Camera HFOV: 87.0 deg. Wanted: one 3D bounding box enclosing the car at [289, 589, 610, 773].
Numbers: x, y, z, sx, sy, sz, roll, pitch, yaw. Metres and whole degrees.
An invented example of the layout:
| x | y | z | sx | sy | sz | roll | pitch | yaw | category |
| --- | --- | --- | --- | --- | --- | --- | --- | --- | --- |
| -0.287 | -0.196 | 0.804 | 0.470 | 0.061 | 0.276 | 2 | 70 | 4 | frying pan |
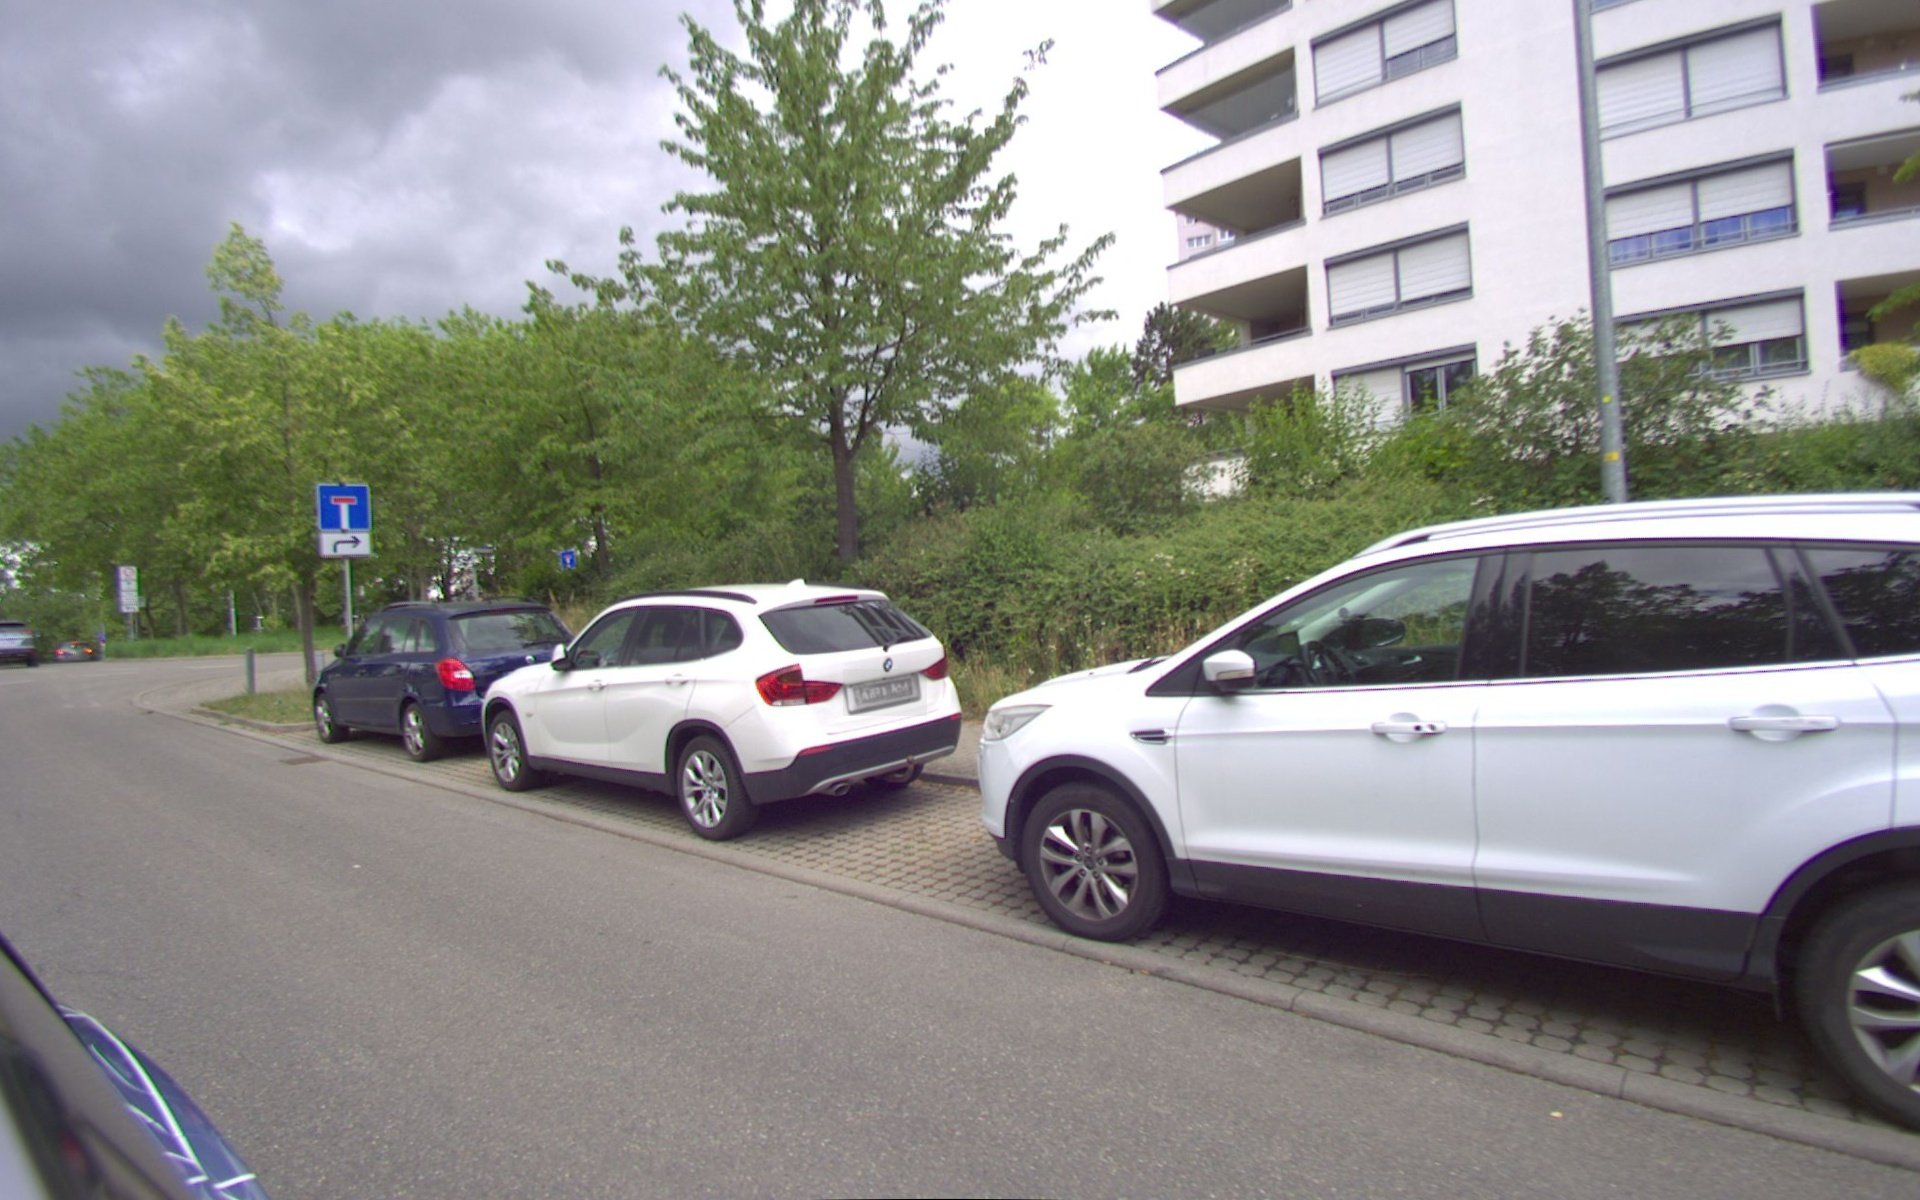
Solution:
| x | y | z | sx | sy | sz | roll | pitch | yaw | category |
| --- | --- | --- | --- | --- | --- | --- | --- | --- | --- |
| -5.553 | 0.758 | 10.790 | 3.952 | 1.498 | 1.672 | -2 | 3 | 42 | car |

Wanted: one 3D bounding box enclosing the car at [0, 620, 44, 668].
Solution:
| x | y | z | sx | sy | sz | roll | pitch | yaw | category |
| --- | --- | --- | --- | --- | --- | --- | --- | --- | --- |
| -33.396 | 1.529 | 34.913 | 4.161 | 1.595 | 1.878 | -2 | -5 | 38 | car |

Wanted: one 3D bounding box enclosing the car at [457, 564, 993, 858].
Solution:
| x | y | z | sx | sy | sz | roll | pitch | yaw | category |
| --- | --- | --- | --- | --- | --- | --- | --- | --- | --- |
| -1.948 | 0.645 | 7.521 | 4.229 | 1.522 | 1.672 | -2 | 3 | 42 | car |

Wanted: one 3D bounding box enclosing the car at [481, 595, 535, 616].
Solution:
| x | y | z | sx | sy | sz | roll | pitch | yaw | category |
| --- | --- | --- | --- | --- | --- | --- | --- | --- | --- |
| -35.349 | 0.431 | 79.231 | 1.640 | 1.475 | 3.979 | -2 | 0 | 17 | car |

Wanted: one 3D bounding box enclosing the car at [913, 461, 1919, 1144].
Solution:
| x | y | z | sx | sy | sz | roll | pitch | yaw | category |
| --- | --- | --- | --- | --- | --- | --- | --- | --- | --- |
| 2.076 | 0.472 | 3.878 | 4.435 | 1.677 | 1.789 | -2 | 3 | 42 | car |

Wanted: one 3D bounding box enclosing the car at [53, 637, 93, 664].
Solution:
| x | y | z | sx | sy | sz | roll | pitch | yaw | category |
| --- | --- | --- | --- | --- | --- | --- | --- | --- | --- |
| -55.731 | 3.146 | 63.577 | 1.734 | 1.527 | 4.004 | -2 | 0 | -43 | car |

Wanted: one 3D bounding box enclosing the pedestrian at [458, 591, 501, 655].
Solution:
| x | y | z | sx | sy | sz | roll | pitch | yaw | category |
| --- | --- | --- | --- | --- | --- | --- | --- | --- | --- |
| -12.670 | 0.601 | 26.708 | 0.713 | 1.623 | 0.630 | -5 | -2 | 16 | pedestrian |
